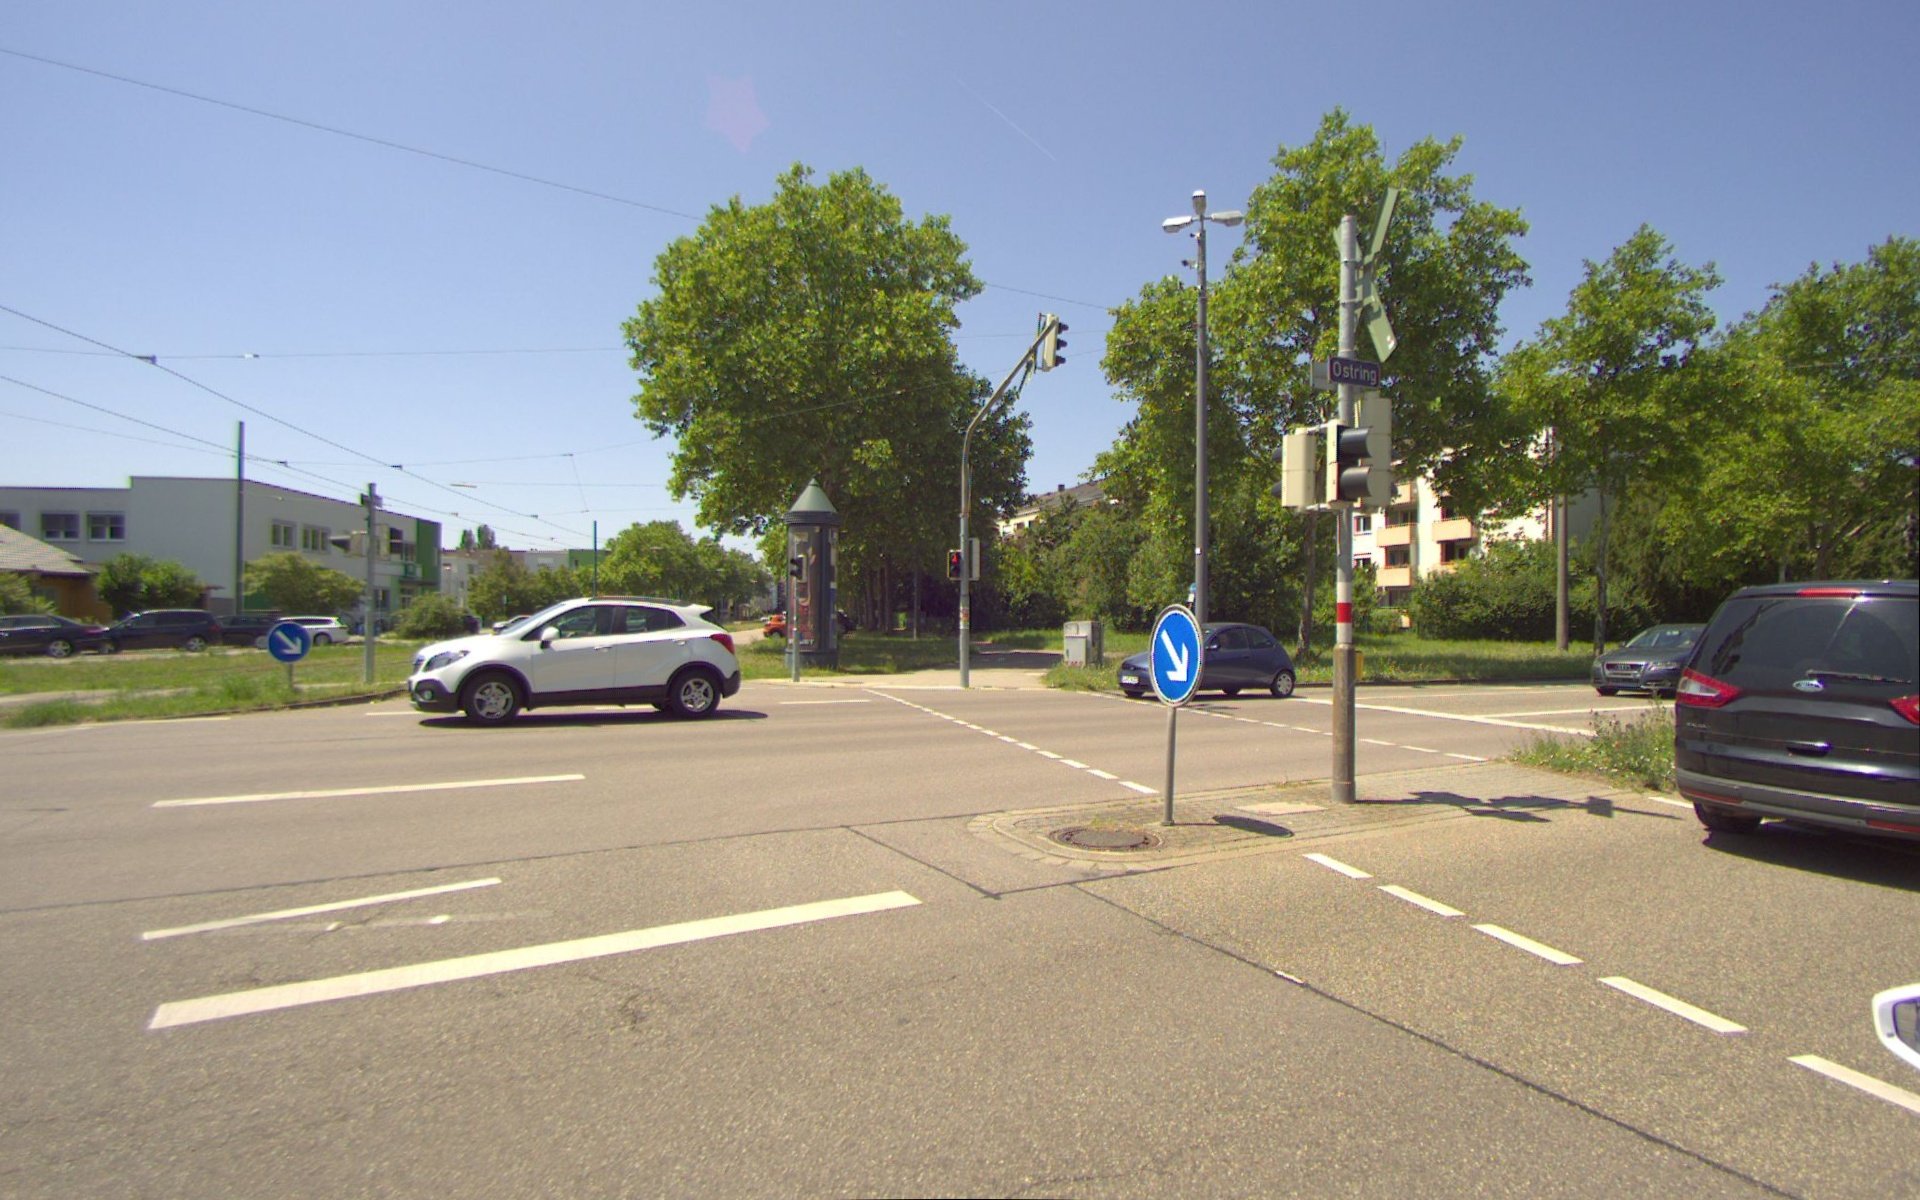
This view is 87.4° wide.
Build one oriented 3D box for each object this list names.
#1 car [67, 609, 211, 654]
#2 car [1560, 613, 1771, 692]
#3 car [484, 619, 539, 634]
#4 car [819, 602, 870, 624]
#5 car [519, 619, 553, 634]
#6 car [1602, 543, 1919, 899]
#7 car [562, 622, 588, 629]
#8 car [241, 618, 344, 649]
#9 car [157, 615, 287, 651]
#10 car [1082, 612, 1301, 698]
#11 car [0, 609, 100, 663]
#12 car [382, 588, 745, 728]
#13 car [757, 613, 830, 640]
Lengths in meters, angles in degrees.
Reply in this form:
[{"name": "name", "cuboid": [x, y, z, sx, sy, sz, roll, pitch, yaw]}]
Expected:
[{"name": "car", "cuboid": [-31.686, 1.181, 38.915, 4.151, 1.673, 1.767, 1, -1, -35]}, {"name": "car", "cuboid": [13.873, 1.008, 19.721, 4.126, 1.413, 1.729, 1, -3, -29]}, {"name": "car", "cuboid": [-35.813, 2.100, 80.240, 3.849, 1.221, 1.351, 1, -1, -31]}, {"name": "car", "cuboid": [-8.882, 1.019, 77.139, 3.704, 1.630, 1.620, 1, 0, -16]}, {"name": "car", "cuboid": [-34.988, 2.208, 82.912, 2.433, 1.221, 1.109, 1, 0, -38]}, {"name": "car", "cuboid": [6.538, 0.628, 6.668, 4.591, 1.779, 1.846, 1, 0, -28]}, {"name": "car", "cuboid": [-37.199, 2.433, 96.984, 2.260, 0.652, 0.770, 0, -1, -26]}, {"name": "car", "cuboid": [-31.900, 1.583, 48.137, 4.015, 1.442, 1.931, 1, -1, -31]}, {"name": "car", "cuboid": [-31.290, 1.376, 42.762, 4.344, 1.430, 1.860, 1, -1, -35]}, {"name": "car", "cuboid": [4.361, 0.978, 18.909, 3.817, 1.474, 1.715, 0, -1, -26]}, {"name": "car", "cuboid": [-30.542, 1.132, 32.039, 4.524, 1.673, 1.766, 0, -1, -35]}, {"name": "car", "cuboid": [-5.291, 0.696, 13.573, 4.352, 1.636, 1.779, 0, 0, -31]}, {"name": "car", "cuboid": [-9.544, 1.510, 57.625, 4.063, 1.415, 1.456, 1, 1, -11]}]
